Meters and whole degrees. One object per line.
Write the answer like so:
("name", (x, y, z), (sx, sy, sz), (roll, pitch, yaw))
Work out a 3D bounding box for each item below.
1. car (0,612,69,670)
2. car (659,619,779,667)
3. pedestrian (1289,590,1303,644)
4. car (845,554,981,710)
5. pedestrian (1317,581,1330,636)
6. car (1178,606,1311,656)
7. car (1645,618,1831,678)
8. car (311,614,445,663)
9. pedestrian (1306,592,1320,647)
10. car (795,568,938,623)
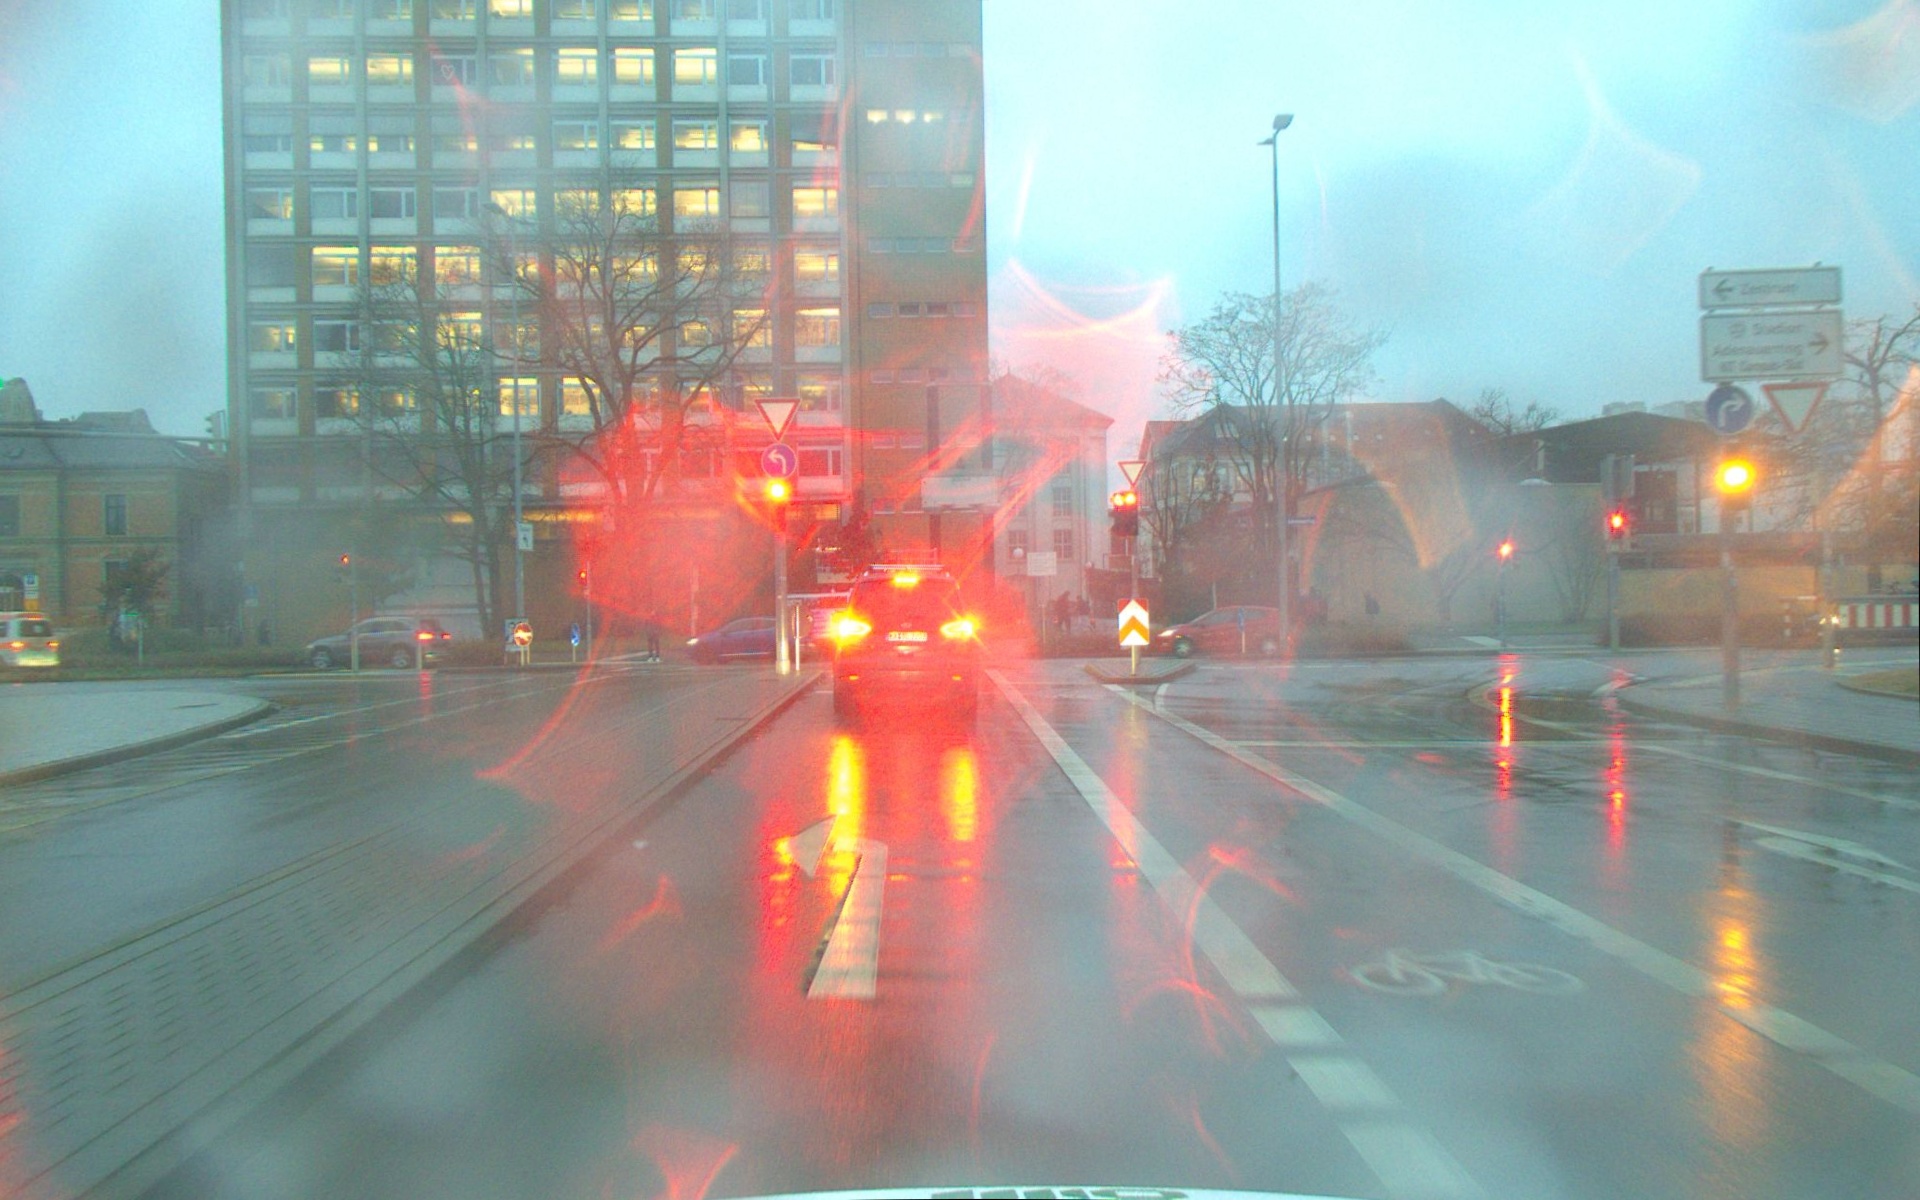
("car", (-33.580, 1.383, 56.957), (5.045, 1.947, 2.001), (0, 0, 14))
("car", (-7.393, 1.304, 50.771), (3.338, 1.423, 1.470), (0, -1, 14))
("pedestrian", (11.679, 0.602, 57.495), (0.428, 1.871, 0.460), (0, -2, 17))
("car", (-0.605, 0.374, 21.797), (1.614, 1.850, 3.999), (0, 0, -1))
("pedestrian", (12.605, 0.292, 57.333), (0.428, 1.871, 0.460), (0, -2, 17))
("car", (8.232, 0.899, 47.839), (3.708, 1.423, 1.566), (0, -2, 11))
("car", (21.554, 1.333, 45.997), (4.338, 1.608, 1.969), (0, -2, 12))
("car", (-18.553, 1.229, 52.753), (3.832, 1.512, 1.470), (0, -2, 14))
("pedestrian", (12.023, 0.665, 56.366), (0.448, 1.871, 0.439), (0, -2, 16))
("car", (-3.674, -0.167, 65.542), (5.430, 2.060, 2.001), (0, -2, 4))
